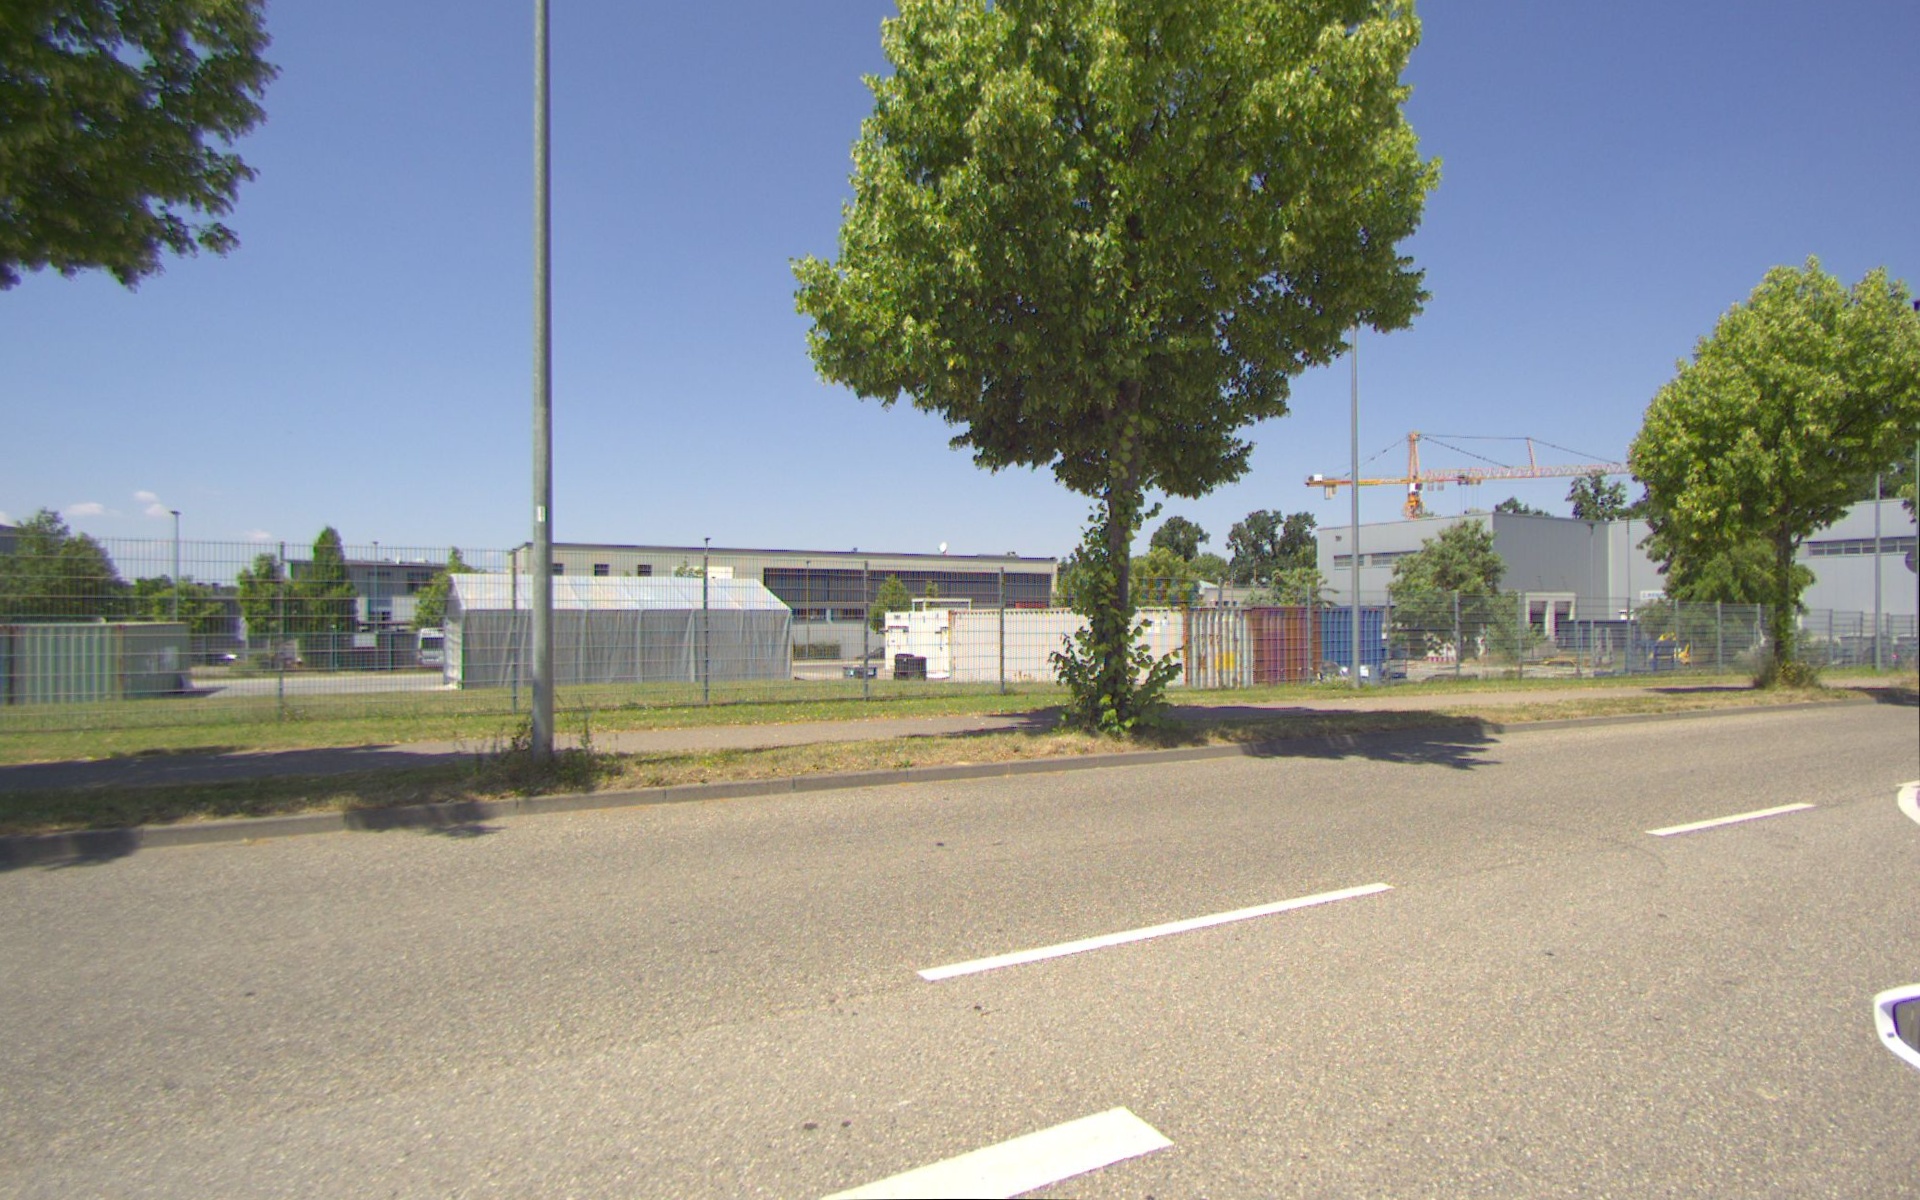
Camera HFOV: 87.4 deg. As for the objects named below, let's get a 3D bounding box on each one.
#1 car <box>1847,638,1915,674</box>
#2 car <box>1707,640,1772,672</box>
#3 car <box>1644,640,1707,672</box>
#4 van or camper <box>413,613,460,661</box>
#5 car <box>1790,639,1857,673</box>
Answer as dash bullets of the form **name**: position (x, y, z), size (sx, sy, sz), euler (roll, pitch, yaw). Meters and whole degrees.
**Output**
- **car**: position (49.141, 2.958, 53.577), size (3.962, 1.572, 1.980), euler (-3, -1, -37)
- **car**: position (45.620, 3.254, 58.777), size (3.962, 1.572, 1.980), euler (-3, -1, -37)
- **car**: position (43.720, 3.410, 61.380), size (3.962, 1.572, 1.980), euler (-3, -1, -37)
- **van or camper**: position (-28.012, 1.980, 53.690), size (1.976, 2.374, 4.266), euler (-3, -1, -30)
- **car**: position (47.751, 3.074, 55.546), size (3.962, 1.572, 1.980), euler (-3, -1, -37)
